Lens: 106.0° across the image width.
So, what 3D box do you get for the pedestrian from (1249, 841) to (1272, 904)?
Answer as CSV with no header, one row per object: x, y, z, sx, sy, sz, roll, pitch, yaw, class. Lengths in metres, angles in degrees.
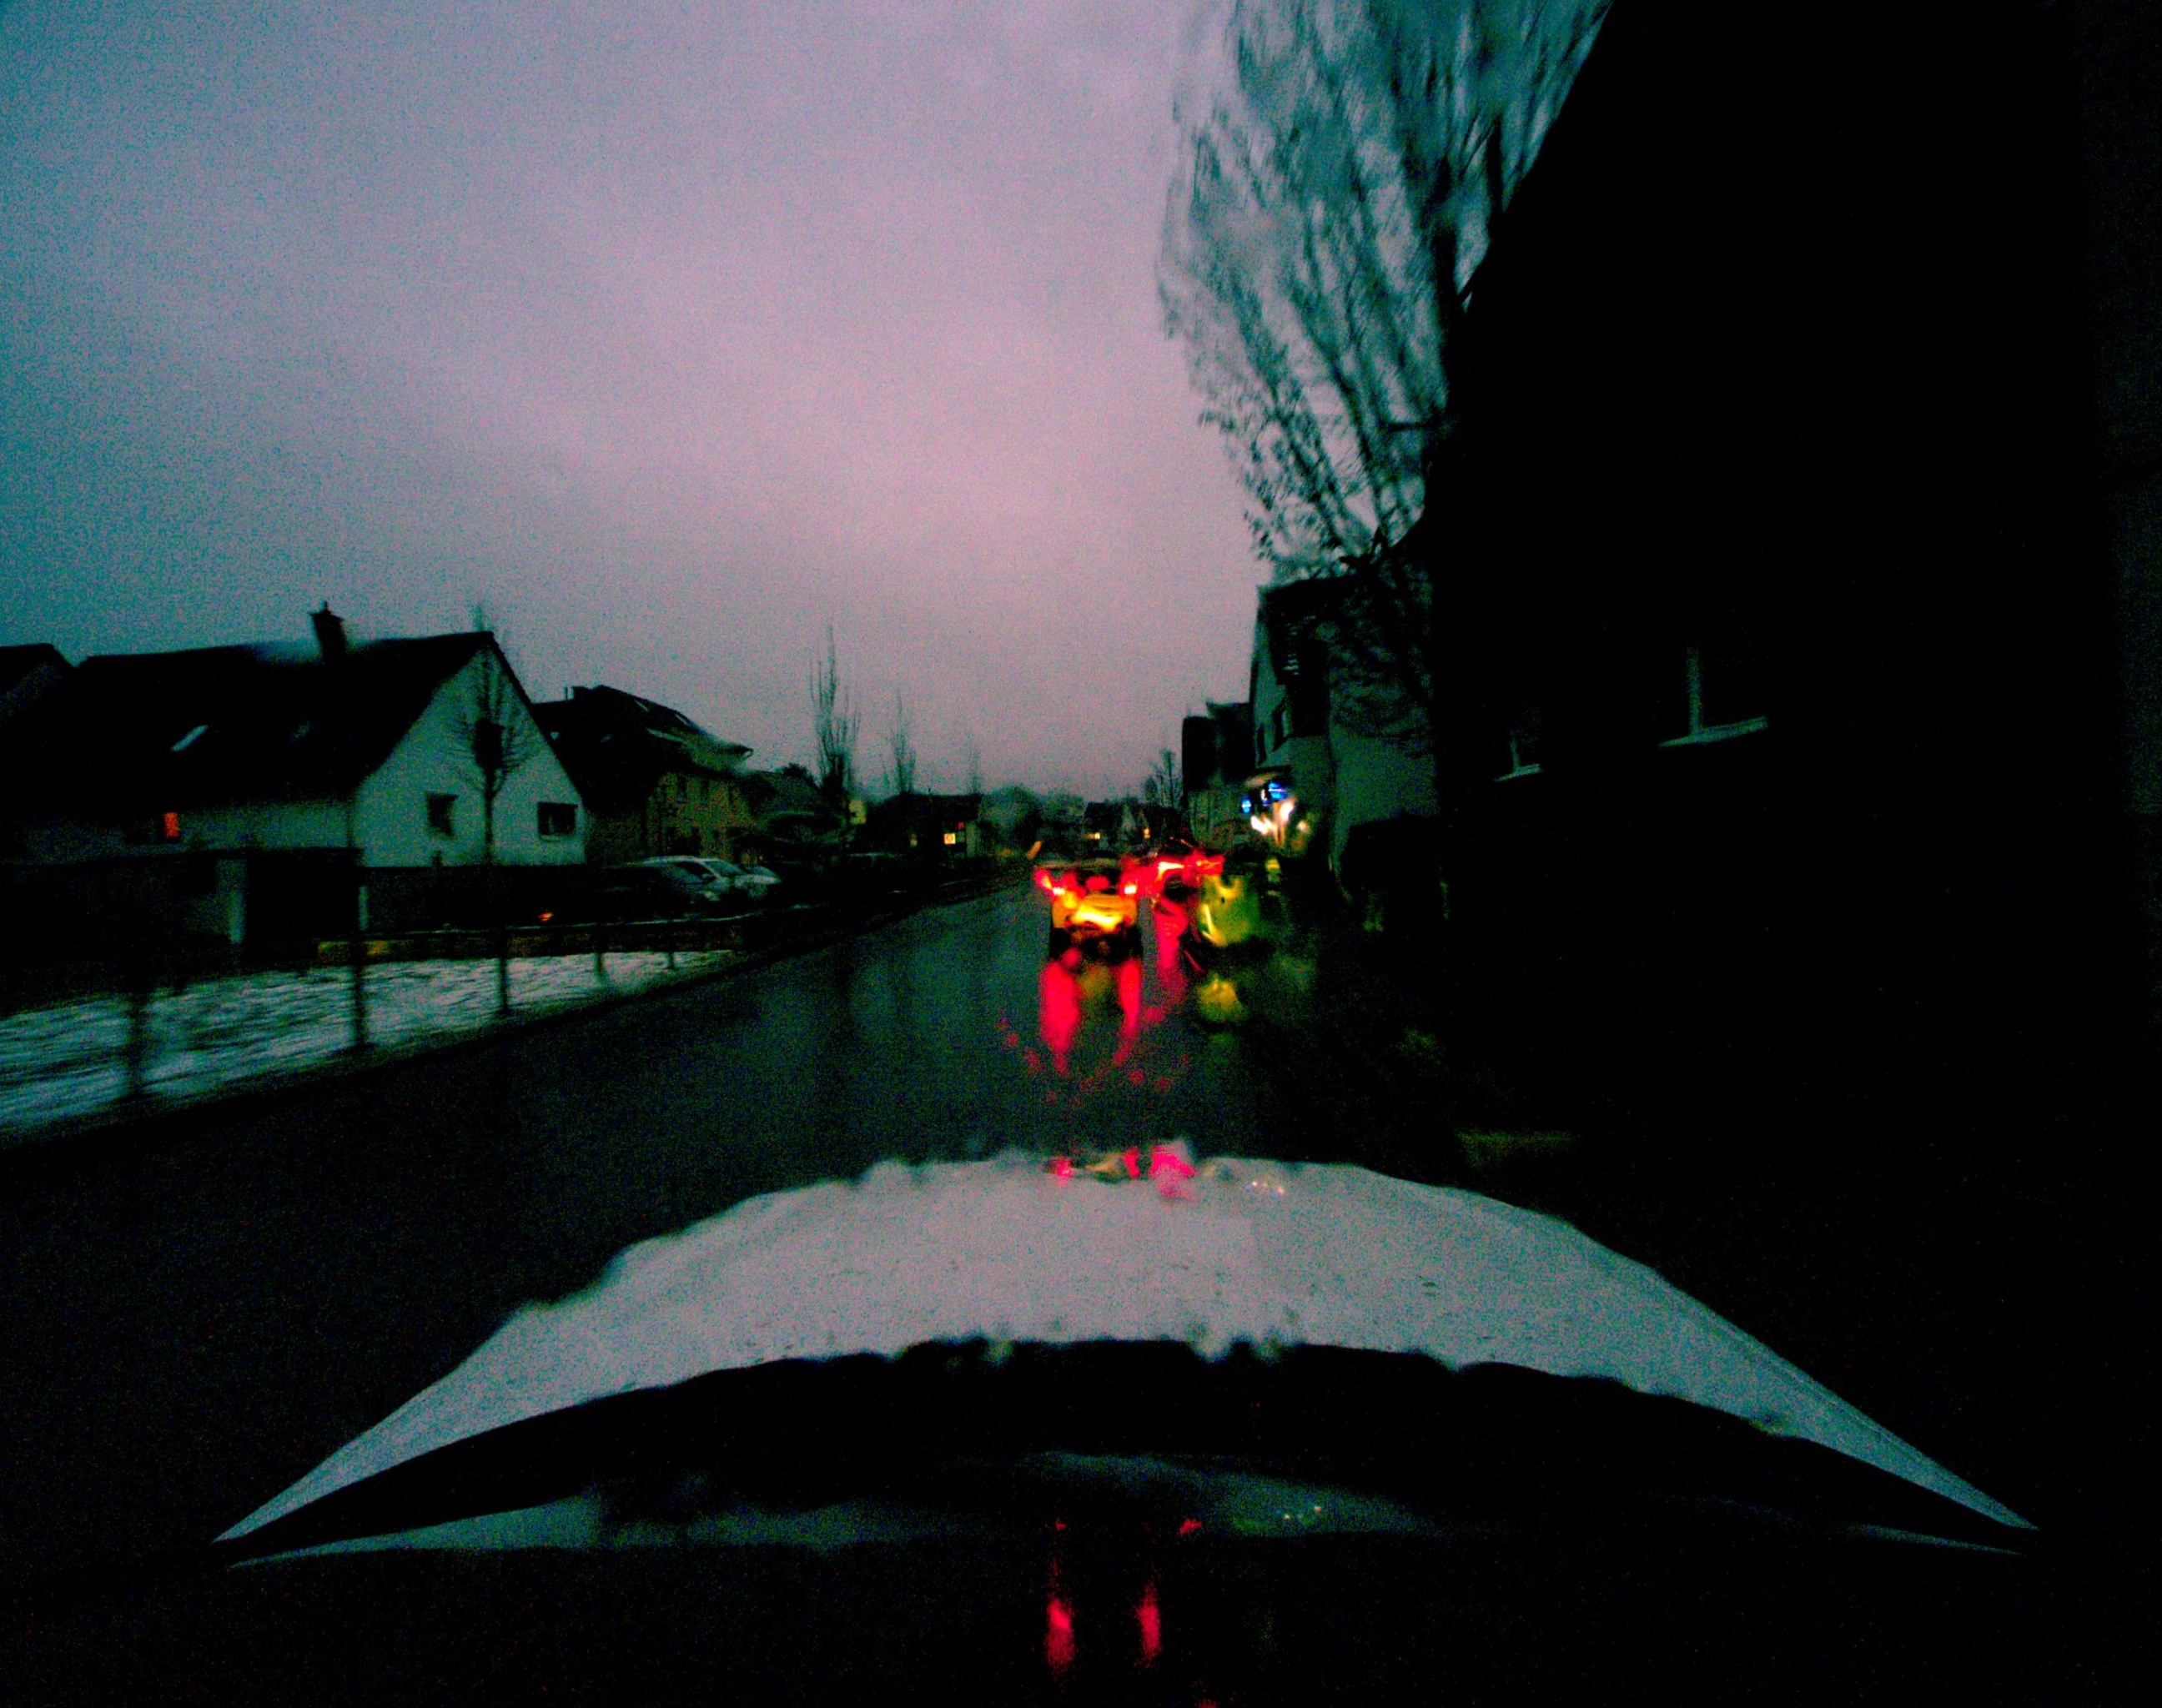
4.846,0.480,22.002,0.476,1.630,1.023,-3,0,15,pedestrian

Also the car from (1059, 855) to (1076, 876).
-1.493,1.305,92.070,1.913,2.216,3.973,0,-2,0,car

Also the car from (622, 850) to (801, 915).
-9.323,0.723,20.705,3.772,1.523,1.718,-1,-1,8,car

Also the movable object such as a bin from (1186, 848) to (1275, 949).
2.337,0.668,12.973,1.124,1.420,1.419,-5,0,3,movable object such as a bin

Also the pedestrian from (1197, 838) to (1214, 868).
6.494,-0.050,42.506,0.618,1.515,0.731,-2,1,-12,pedestrian

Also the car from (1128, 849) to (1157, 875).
4.578,0.631,61.294,1.990,1.865,4.084,-1,-1,2,car

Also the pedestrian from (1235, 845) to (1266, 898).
5.368,0.535,25.789,0.618,1.626,0.903,-2,1,-12,pedestrian

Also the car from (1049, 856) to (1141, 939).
0.288,0.749,15.420,1.557,1.412,3.018,0,0,1,car

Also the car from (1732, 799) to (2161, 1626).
2.688,0.613,0.250,1.721,1.464,4.203,-5,0,4,car

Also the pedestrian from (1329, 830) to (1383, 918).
5.533,0.398,16.426,0.743,1.679,1.054,-3,-2,8,pedestrian

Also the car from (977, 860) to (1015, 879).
-9.150,1.676,87.446,1.833,1.976,4.117,2,-4,-45,car

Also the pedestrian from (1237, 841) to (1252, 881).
7.083,0.314,35.325,0.614,1.727,0.503,-1,-3,13,pedestrian

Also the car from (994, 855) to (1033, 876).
-7.539,1.309,90.948,2.011,2.167,4.331,2,-4,-45,car

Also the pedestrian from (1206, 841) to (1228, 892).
4.747,0.438,28.383,0.571,1.699,0.653,-4,-1,3,pedestrian

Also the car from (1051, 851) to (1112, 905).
0.083,0.715,26.499,1.759,1.628,3.589,0,0,3,car

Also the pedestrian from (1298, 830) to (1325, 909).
5.377,0.355,19.019,0.525,1.800,0.867,-1,0,11,pedestrian

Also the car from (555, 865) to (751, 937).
-9.360,0.993,17.991,3.433,1.372,1.601,-2,0,0,car

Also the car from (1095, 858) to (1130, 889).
1.466,0.882,38.280,1.535,1.331,3.312,0,0,1,car

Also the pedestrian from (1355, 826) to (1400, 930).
4.911,0.401,13.526,0.525,1.653,0.956,-1,-3,11,pedestrian

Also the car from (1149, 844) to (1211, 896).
3.463,0.547,29.233,1.729,1.692,4.386,-2,0,1,car

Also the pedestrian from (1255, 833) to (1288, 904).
4.838,0.358,20.634,0.707,1.715,1.038,-3,0,15,pedestrian

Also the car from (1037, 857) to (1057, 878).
-3.477,1.445,84.187,1.913,2.028,3.973,0,-2,0,car

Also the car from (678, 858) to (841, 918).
-9.236,0.966,23.551,4.074,1.608,1.589,-1,-1,4,car

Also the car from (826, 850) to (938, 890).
-8.983,0.706,37.051,4.612,1.667,1.999,-1,-1,-1,car
